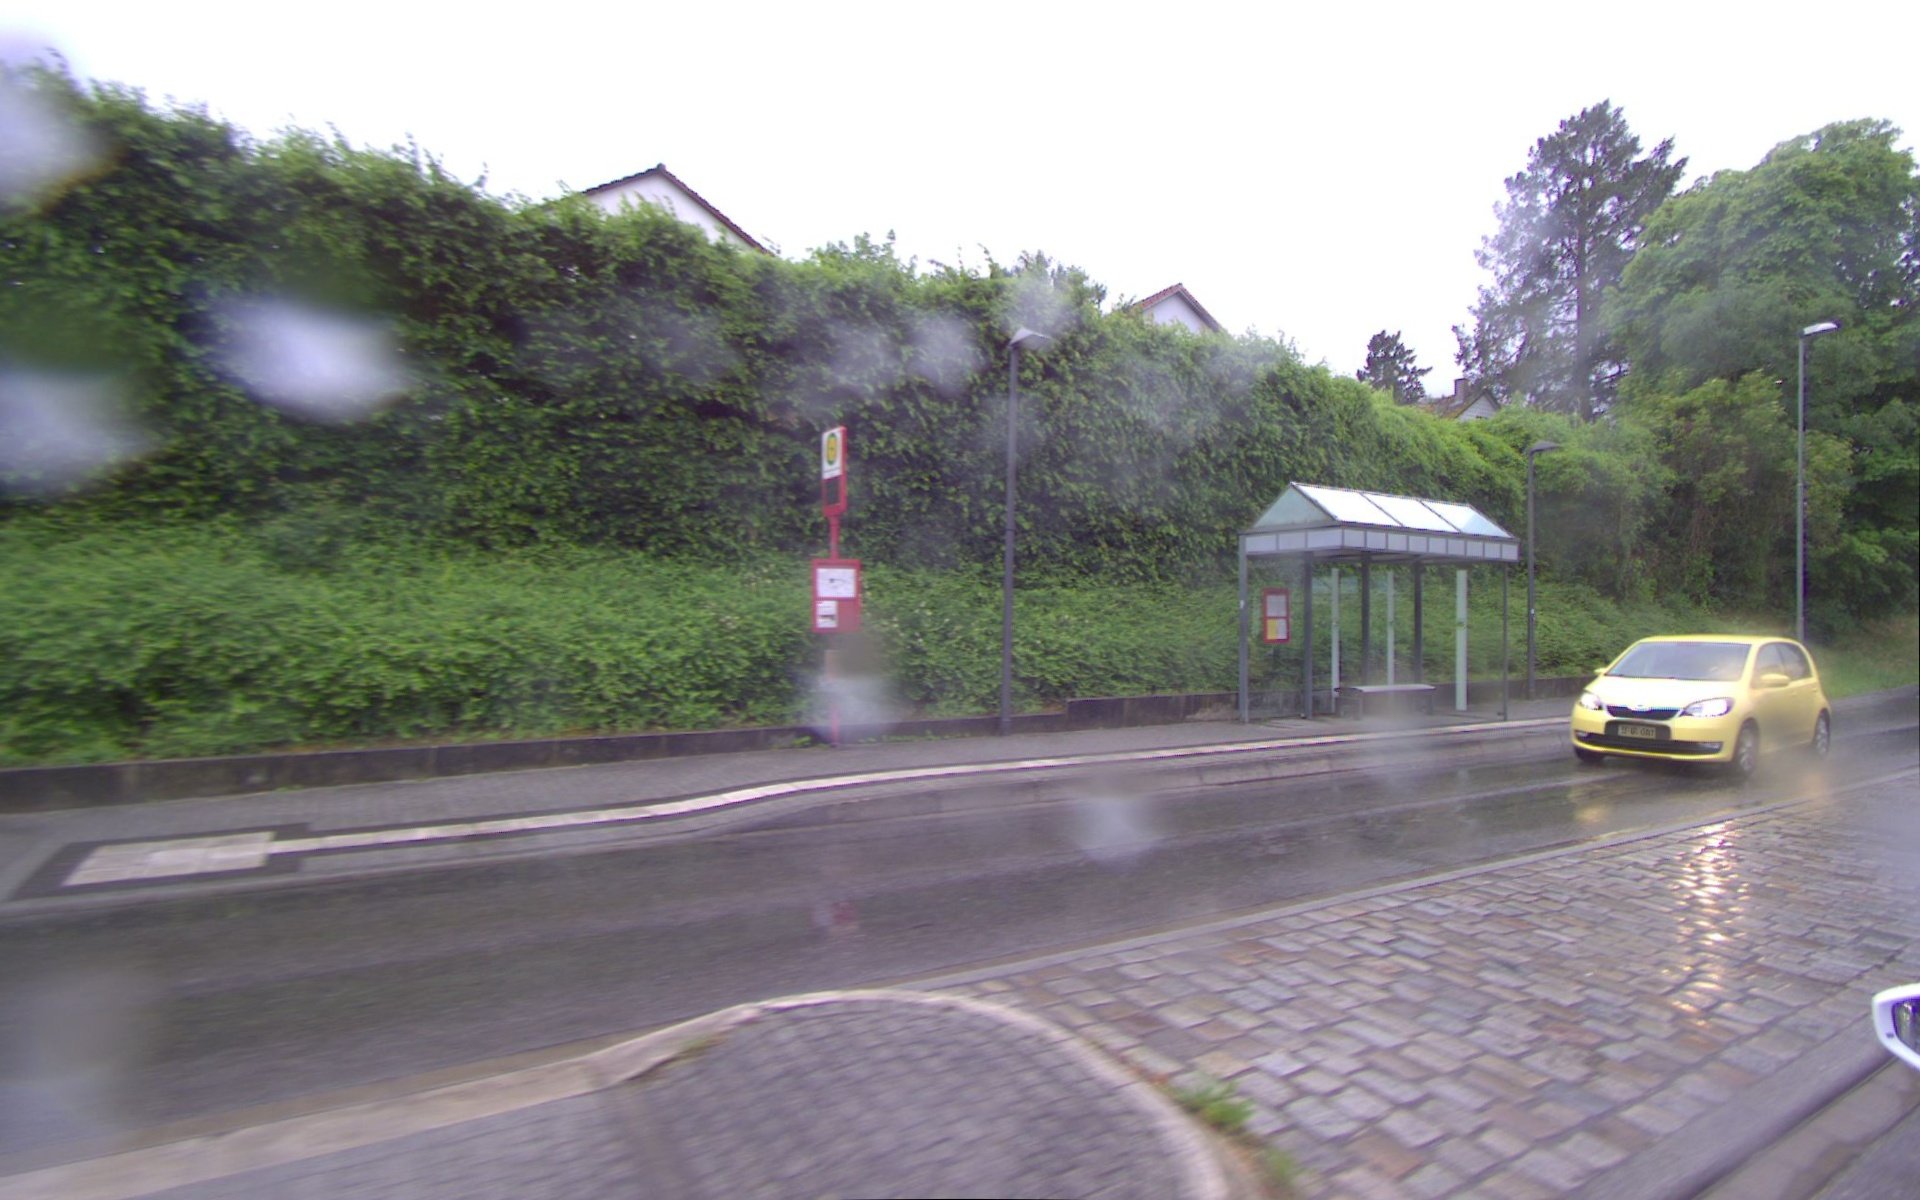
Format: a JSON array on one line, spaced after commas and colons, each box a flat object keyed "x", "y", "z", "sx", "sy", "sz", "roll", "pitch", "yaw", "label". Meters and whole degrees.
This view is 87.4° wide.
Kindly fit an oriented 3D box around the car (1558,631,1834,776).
[{"x": 8.557, "y": 1.087, "z": 11.616, "sx": 3.439, "sy": 1.429, "sz": 1.562, "roll": 1, "pitch": -2, "yaw": -35, "label": "car"}]
